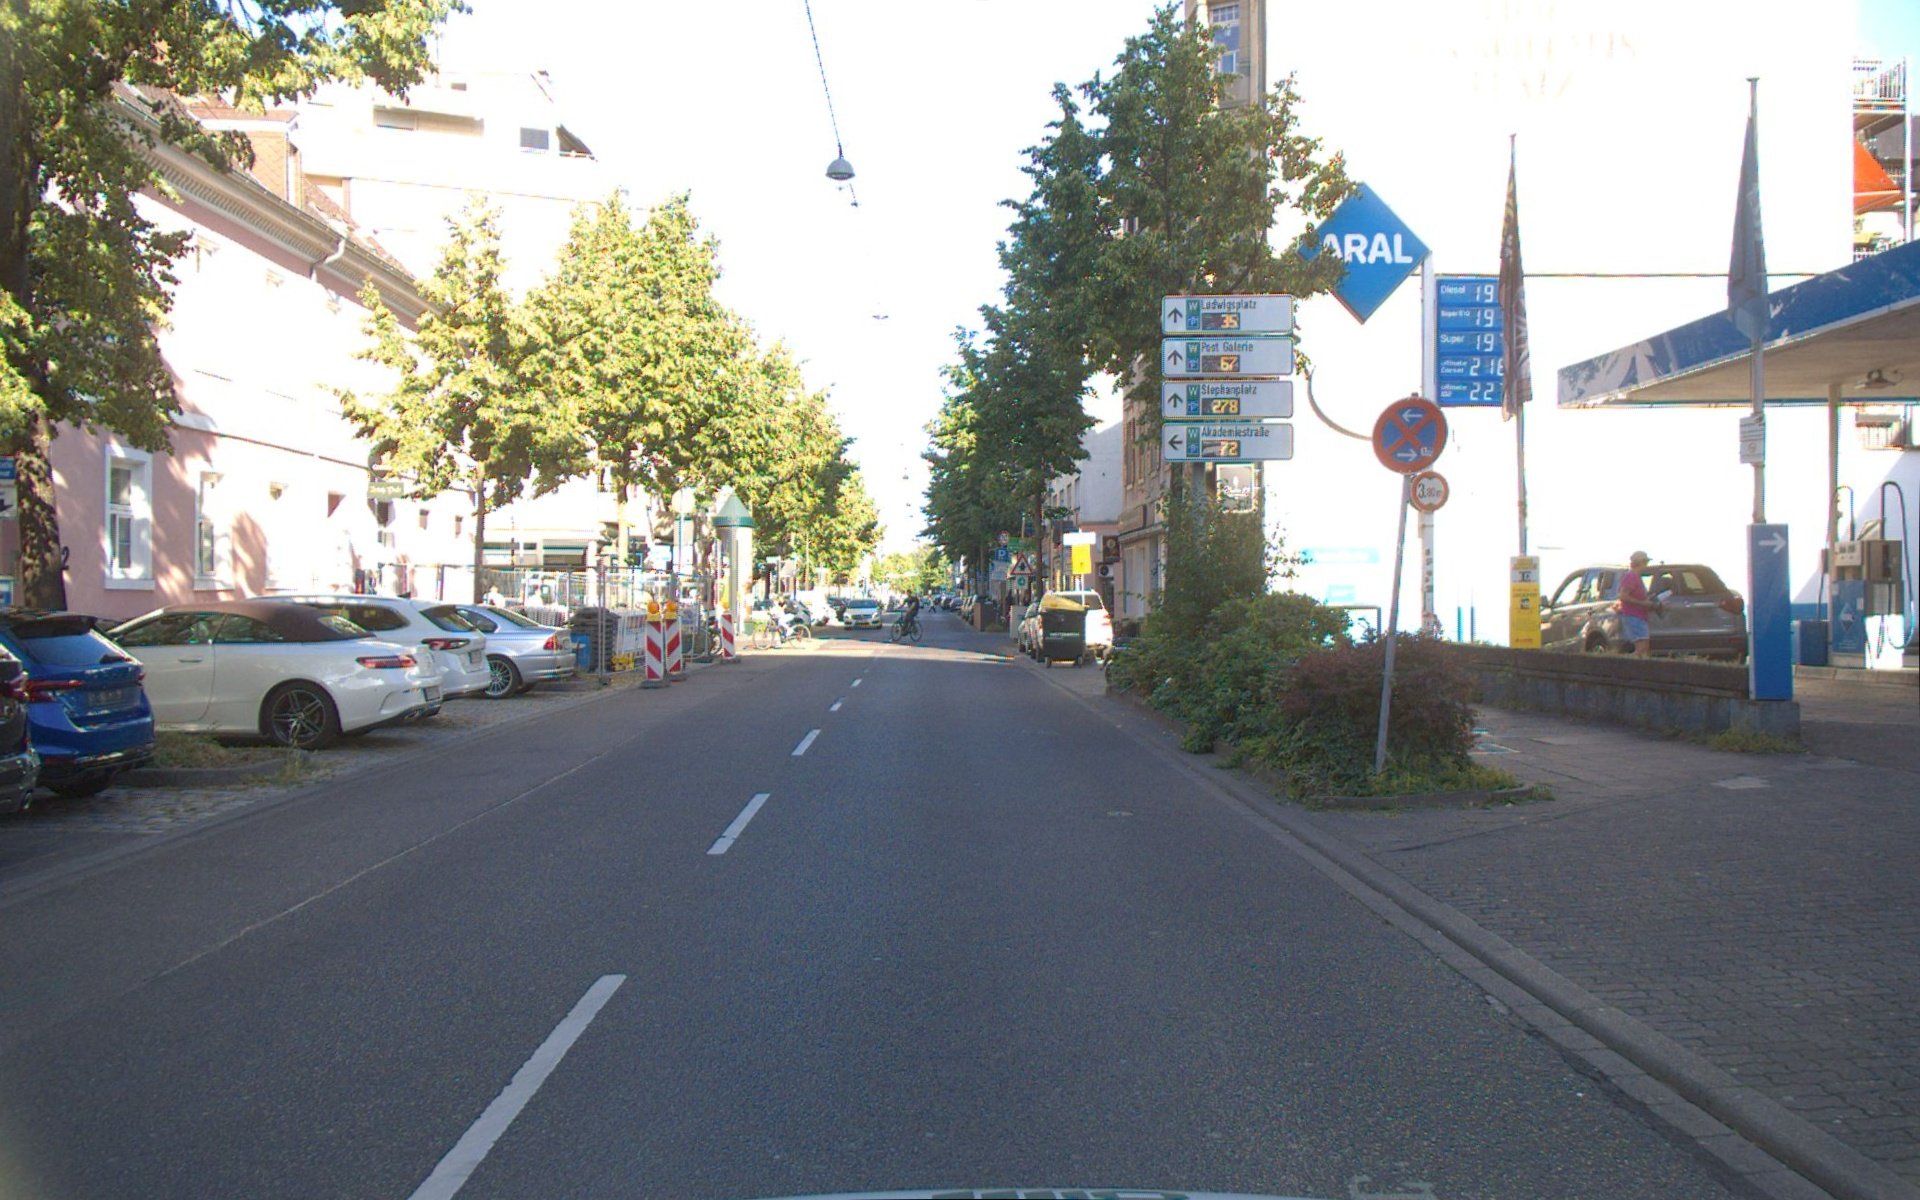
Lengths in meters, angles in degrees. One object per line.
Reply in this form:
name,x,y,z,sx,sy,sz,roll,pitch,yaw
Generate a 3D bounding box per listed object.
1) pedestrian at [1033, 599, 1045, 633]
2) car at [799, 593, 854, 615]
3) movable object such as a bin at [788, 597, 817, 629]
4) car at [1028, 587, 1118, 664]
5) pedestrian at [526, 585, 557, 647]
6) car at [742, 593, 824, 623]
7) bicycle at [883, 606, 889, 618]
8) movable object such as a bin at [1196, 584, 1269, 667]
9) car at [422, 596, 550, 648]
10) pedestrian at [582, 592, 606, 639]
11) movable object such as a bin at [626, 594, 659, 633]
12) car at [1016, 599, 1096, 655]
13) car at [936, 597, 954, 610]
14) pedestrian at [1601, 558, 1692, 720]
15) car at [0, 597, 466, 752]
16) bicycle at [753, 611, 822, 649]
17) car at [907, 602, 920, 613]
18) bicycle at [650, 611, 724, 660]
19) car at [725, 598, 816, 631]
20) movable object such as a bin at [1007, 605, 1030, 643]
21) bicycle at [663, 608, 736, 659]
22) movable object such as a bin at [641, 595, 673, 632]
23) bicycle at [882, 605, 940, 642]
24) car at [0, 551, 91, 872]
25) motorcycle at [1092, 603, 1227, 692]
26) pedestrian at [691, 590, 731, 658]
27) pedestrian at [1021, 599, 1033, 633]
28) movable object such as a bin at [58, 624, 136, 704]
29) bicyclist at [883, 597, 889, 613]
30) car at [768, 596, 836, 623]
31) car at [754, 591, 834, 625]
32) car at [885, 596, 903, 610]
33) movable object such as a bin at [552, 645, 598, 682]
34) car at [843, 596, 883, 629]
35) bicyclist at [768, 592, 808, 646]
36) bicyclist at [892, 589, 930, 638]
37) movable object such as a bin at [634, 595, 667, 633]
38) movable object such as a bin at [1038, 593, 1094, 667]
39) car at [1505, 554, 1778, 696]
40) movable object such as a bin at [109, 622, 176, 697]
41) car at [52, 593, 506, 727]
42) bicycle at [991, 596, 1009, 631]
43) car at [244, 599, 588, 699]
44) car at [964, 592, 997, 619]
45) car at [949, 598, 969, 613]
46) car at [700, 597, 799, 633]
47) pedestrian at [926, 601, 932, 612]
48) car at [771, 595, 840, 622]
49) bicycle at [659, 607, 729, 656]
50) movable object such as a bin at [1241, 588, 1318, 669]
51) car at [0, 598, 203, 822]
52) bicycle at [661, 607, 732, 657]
pedestrian,3.952,0.799,82.531,0.536,1.678,0.664,-1,0,-2
car,-9.737,0.267,120.871,3.907,1.526,1.999,-1,0,-2
movable object such as a bin,-7.723,0.628,81.143,1.307,1.504,1.480,-1,0,-2
car,2.740,0.584,41.007,1.785,1.708,4.600,-3,0,-1
pedestrian,-11.393,0.429,45.061,0.598,1.682,0.813,-1,0,2
car,-9.016,0.397,84.547,3.903,1.482,1.869,-1,0,3
bicycle,-7.310,1.190,163.740,0.549,1.200,1.628,0,-1,-1
movable object such as a bin,5.613,0.507,34.194,1.181,1.656,1.497,-1,0,-3
car,-15.896,0.715,55.429,3.932,1.639,1.986,-1,0,-23
pedestrian,-13.097,0.548,59.203,0.756,1.671,0.689,-1,0,-6
movable object such as a bin,-12.691,0.539,66.124,1.117,1.511,1.235,-1,0,-3
car,2.644,0.715,46.325,1.786,1.415,4.299,-3,0,-2
car,-1.766,0.393,193.395,1.953,1.534,3.998,0,-1,-2
pedestrian,8.159,0.451,19.666,0.675,1.882,0.706,-1,0,-17
car,-7.609,0.726,16.928,4.588,1.491,1.806,0,0,-4
bicycle,-5.159,0.895,49.489,1.920,1.077,0.764,-1,0,-20
car,-6.195,0.965,221.639,1.756,1.436,3.999,-1,0,-1
bicycle,-6.911,0.894,41.871,1.820,1.191,0.599,1,0,-9
car,-8.498,0.633,74.447,3.907,1.414,1.999,-1,0,-2
movable object such as a bin,1.944,0.785,54.626,0.691,1.244,0.680,-1,0,-4
bicycle,-6.699,0.861,42.550,1.820,1.274,0.599,1,0,-9
movable object such as a bin,-12.709,0.548,69.314,1.148,1.511,1.314,-1,0,-3
bicycle,-1.712,0.820,57.969,2.015,1.241,0.711,-1,0,-38
car,-7.448,0.590,8.880,4.584,1.723,1.808,0,0,0
motorcycle,3.176,0.742,26.364,1.943,1.353,0.908,-1,0,-14
pedestrian,-6.502,0.617,43.231,0.785,1.737,0.758,1,0,-34
pedestrian,3.321,0.781,82.212,0.535,1.678,0.664,-1,0,-1
movable object such as a bin,-12.043,0.887,23.087,0.681,1.078,0.731,-1,0,-1
bicyclist,-7.317,0.509,163.763,0.549,1.575,0.728,0,-1,-1
car,-9.395,0.560,98.506,3.907,1.526,1.999,-1,-1,-2
car,-8.725,0.433,87.355,3.903,1.724,2.001,-1,0,3
car,-6.980,0.320,174.107,1.786,1.415,4.299,-3,0,-2
movable object such as a bin,-7.077,1.156,30.455,0.615,0.627,1.077,-1,0,-2
car,-4.642,0.587,79.850,1.766,1.460,4.407,-3,0,-2
bicyclist,-5.142,0.552,49.488,1.022,1.587,0.764,-1,0,-20
bicyclist,-1.708,0.467,57.973,1.145,1.722,0.711,-1,0,-38
movable object such as a bin,-12.651,0.557,67.581,1.148,1.511,1.314,-1,0,-3
movable object such as a bin,2.359,0.641,36.680,1.118,1.589,1.460,-1,0,7
car,8.902,0.295,22.044,1.862,1.677,4.293,-1,0,0
movable object such as a bin,-12.063,0.869,24.426,0.681,1.078,0.574,-1,0,-1
car,-7.874,0.681,19.484,4.588,1.491,1.806,0,0,-4
bicycle,1.765,0.580,72.833,0.549,1.465,1.628,-6,0,-1
car,-8.073,0.720,24.885,4.588,1.437,1.806,0,0,-4
car,1.302,0.320,105.865,1.953,1.637,3.999,-1,0,-1
car,-0.087,0.612,173.835,1.953,1.534,3.998,0,-1,-2
car,-8.703,0.609,68.654,3.907,1.414,1.999,-1,0,-2
pedestrian,-3.181,0.645,168.666,0.534,1.044,0.546,-1,0,-3
car,-8.955,0.470,96.167,3.907,1.526,1.999,-1,0,-2
bicycle,-7.090,0.844,44.195,1.820,1.274,0.599,1,0,-9
movable object such as a bin,6.334,0.553,32.844,1.245,1.557,1.176,-1,0,-3
car,-8.181,0.727,11.925,4.584,1.489,1.808,0,0,0
bicycle,-6.928,0.834,43.558,1.820,1.274,0.599,1,0,-9
